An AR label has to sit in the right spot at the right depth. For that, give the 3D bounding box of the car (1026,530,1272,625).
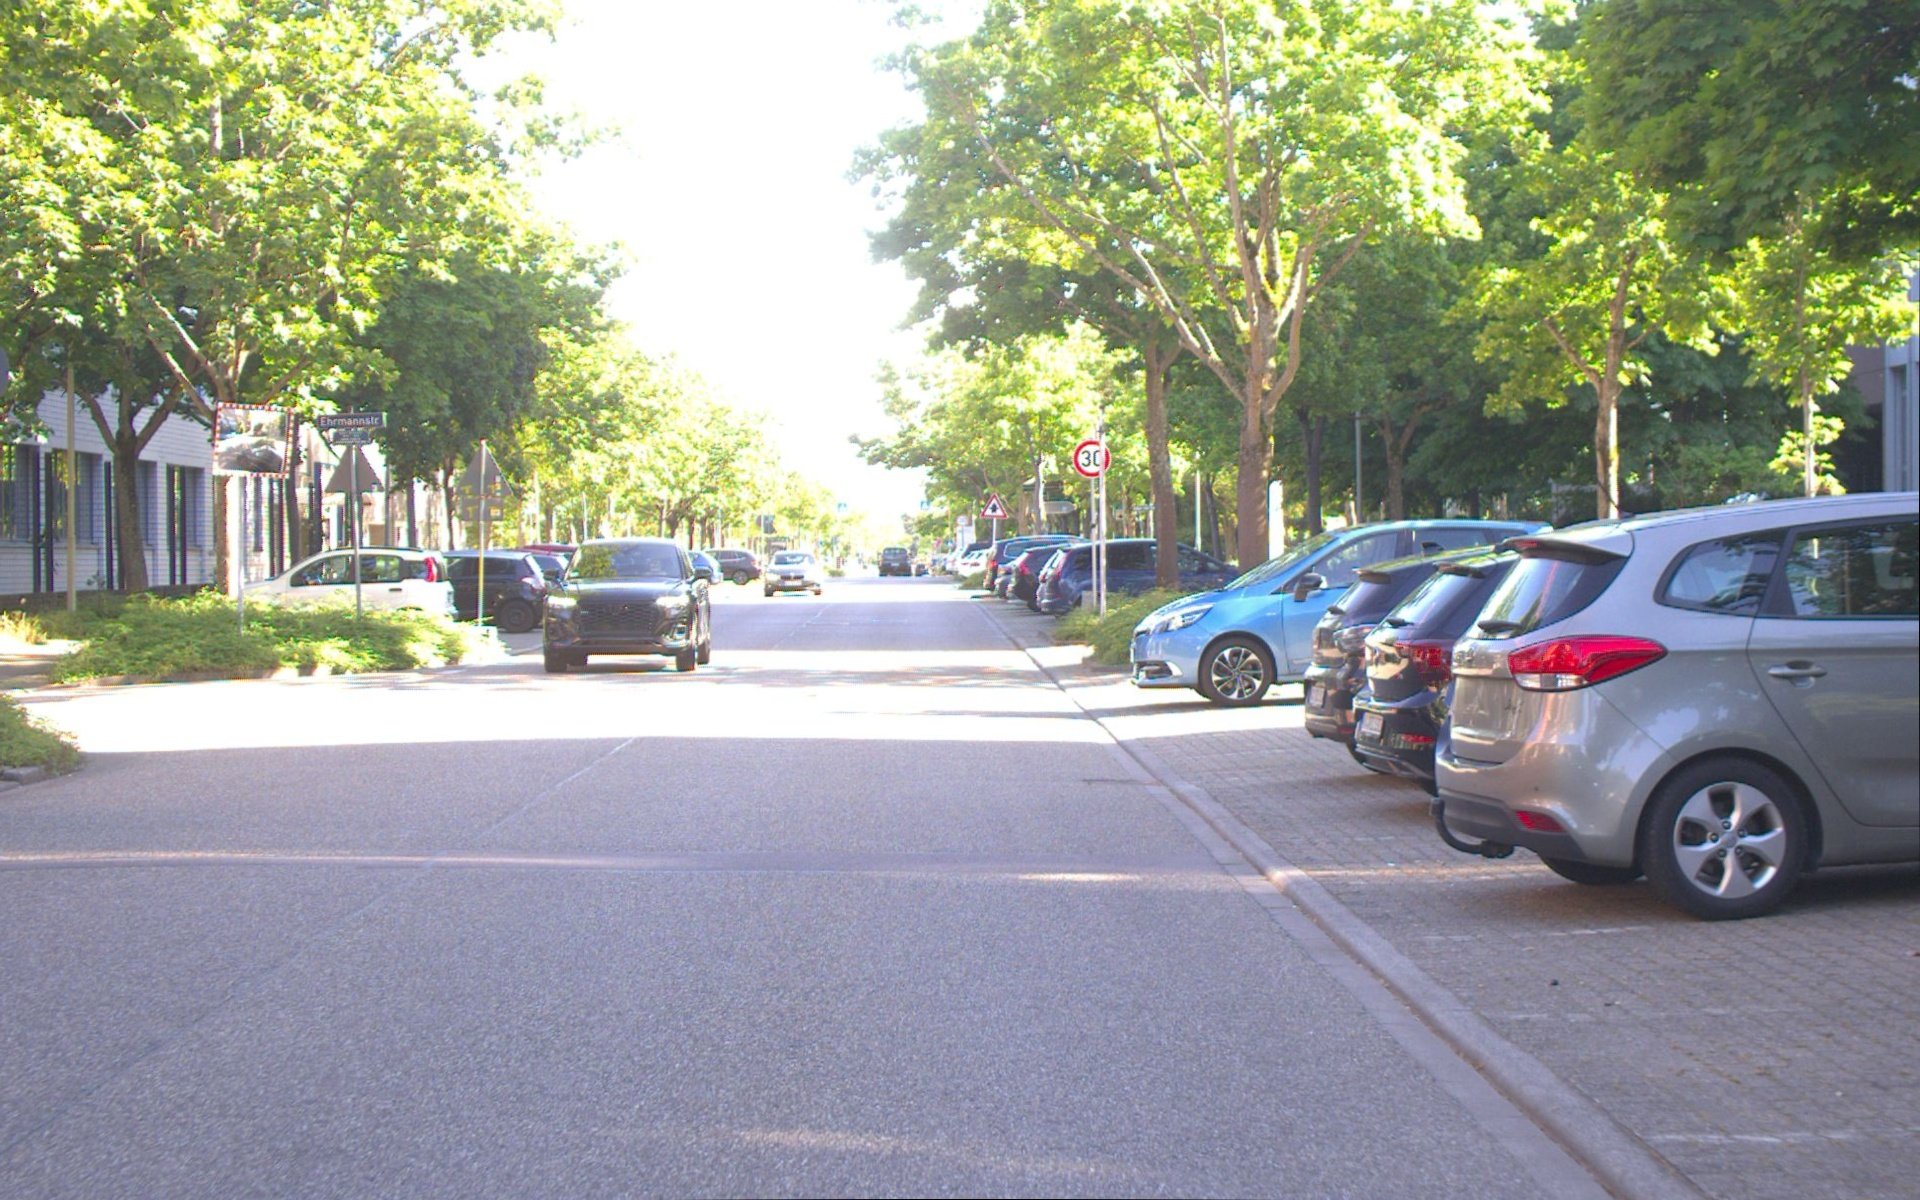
[{"bbox_3d":[3.406,-0.415,62.583,4.267,1.628,1.858,-1,1,-3],"label":"car"}]

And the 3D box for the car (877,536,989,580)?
[{"bbox_3d":[-1.010,-1.551,127.202,3.986,1.619,2.000,0,1,-6],"label":"car"}]

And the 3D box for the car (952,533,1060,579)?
[{"bbox_3d":[1.786,-1.712,133.803,3.986,1.786,2.000,0,1,-6],"label":"car"}]

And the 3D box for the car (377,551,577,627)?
[{"bbox_3d":[-9.478,-0.225,67.653,3.732,1.459,1.677,0,1,-2],"label":"car"}]

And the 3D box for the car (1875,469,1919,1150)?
[{"bbox_3d":[4.009,0.430,6.714,3.934,1.434,1.775,-1,1,-3],"label":"car"}]

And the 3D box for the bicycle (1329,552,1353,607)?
[{"bbox_3d":[7.404,-0.399,66.856,0.379,1.043,1.884,-2,1,4],"label":"bicycle"}]

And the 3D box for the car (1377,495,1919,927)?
[{"bbox_3d":[4.064,0.380,13.982,4.351,1.592,1.940,-1,1,-7],"label":"car"}]

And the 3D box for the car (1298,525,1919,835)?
[{"bbox_3d":[3.881,0.378,18.440,3.799,1.403,1.702,-3,2,-6],"label":"car"}]

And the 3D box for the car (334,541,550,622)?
[{"bbox_3d":[-9.464,-0.344,63.022,3.732,1.459,1.677,0,1,-2],"label":"car"}]

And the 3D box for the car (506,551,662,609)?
[{"bbox_3d":[-9.719,-0.526,89.111,3.892,1.459,1.858,0,1,-2],"label":"car"}]

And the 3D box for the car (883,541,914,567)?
[{"bbox_3d":[-3.826,-2.898,214.185,1.933,1.592,4.366,-1,1,-1],"label":"car"}]

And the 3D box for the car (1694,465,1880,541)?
[{"bbox_3d":[20.678,-2.408,86.037,4.071,1.777,2.000,1,0,-5],"label":"car"}]

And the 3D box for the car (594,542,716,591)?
[{"bbox_3d":[-10.592,-1.175,119.499,3.987,1.648,1.860,-1,1,2],"label":"car"}]

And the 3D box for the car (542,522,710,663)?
[{"bbox_3d":[-4.167,-0.120,43.476,1.891,1.678,4.353,-1,1,-3],"label":"car"}]

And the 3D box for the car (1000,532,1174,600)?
[{"bbox_3d":[3.003,-0.807,81.867,4.044,1.486,1.550,-2,1,-1],"label":"car"}]

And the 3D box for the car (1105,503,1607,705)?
[{"bbox_3d":[3.667,0.020,32.421,4.405,1.613,1.912,-3,1,-1],"label":"car"}]

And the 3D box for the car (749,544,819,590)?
[{"bbox_3d":[-5.514,-1.058,108.087,1.813,1.410,4.107,0,1,3],"label":"car"}]

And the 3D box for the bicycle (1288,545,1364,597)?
[{"bbox_3d":[7.668,-0.619,72.125,0.379,1.074,1.786,-1,1,-42],"label":"bicycle"}]

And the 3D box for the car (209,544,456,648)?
[{"bbox_3d":[-9.709,-0.049,53.378,3.580,1.544,1.637,0,-2,-3],"label":"car"}]

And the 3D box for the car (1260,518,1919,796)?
[{"bbox_3d":[3.927,0.317,21.491,3.846,1.478,1.825,-3,2,-1],"label":"car"}]

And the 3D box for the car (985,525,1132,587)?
[{"bbox_3d":[2.661,-1.196,93.830,3.892,1.650,1.858,0,1,-2],"label":"car"}]
